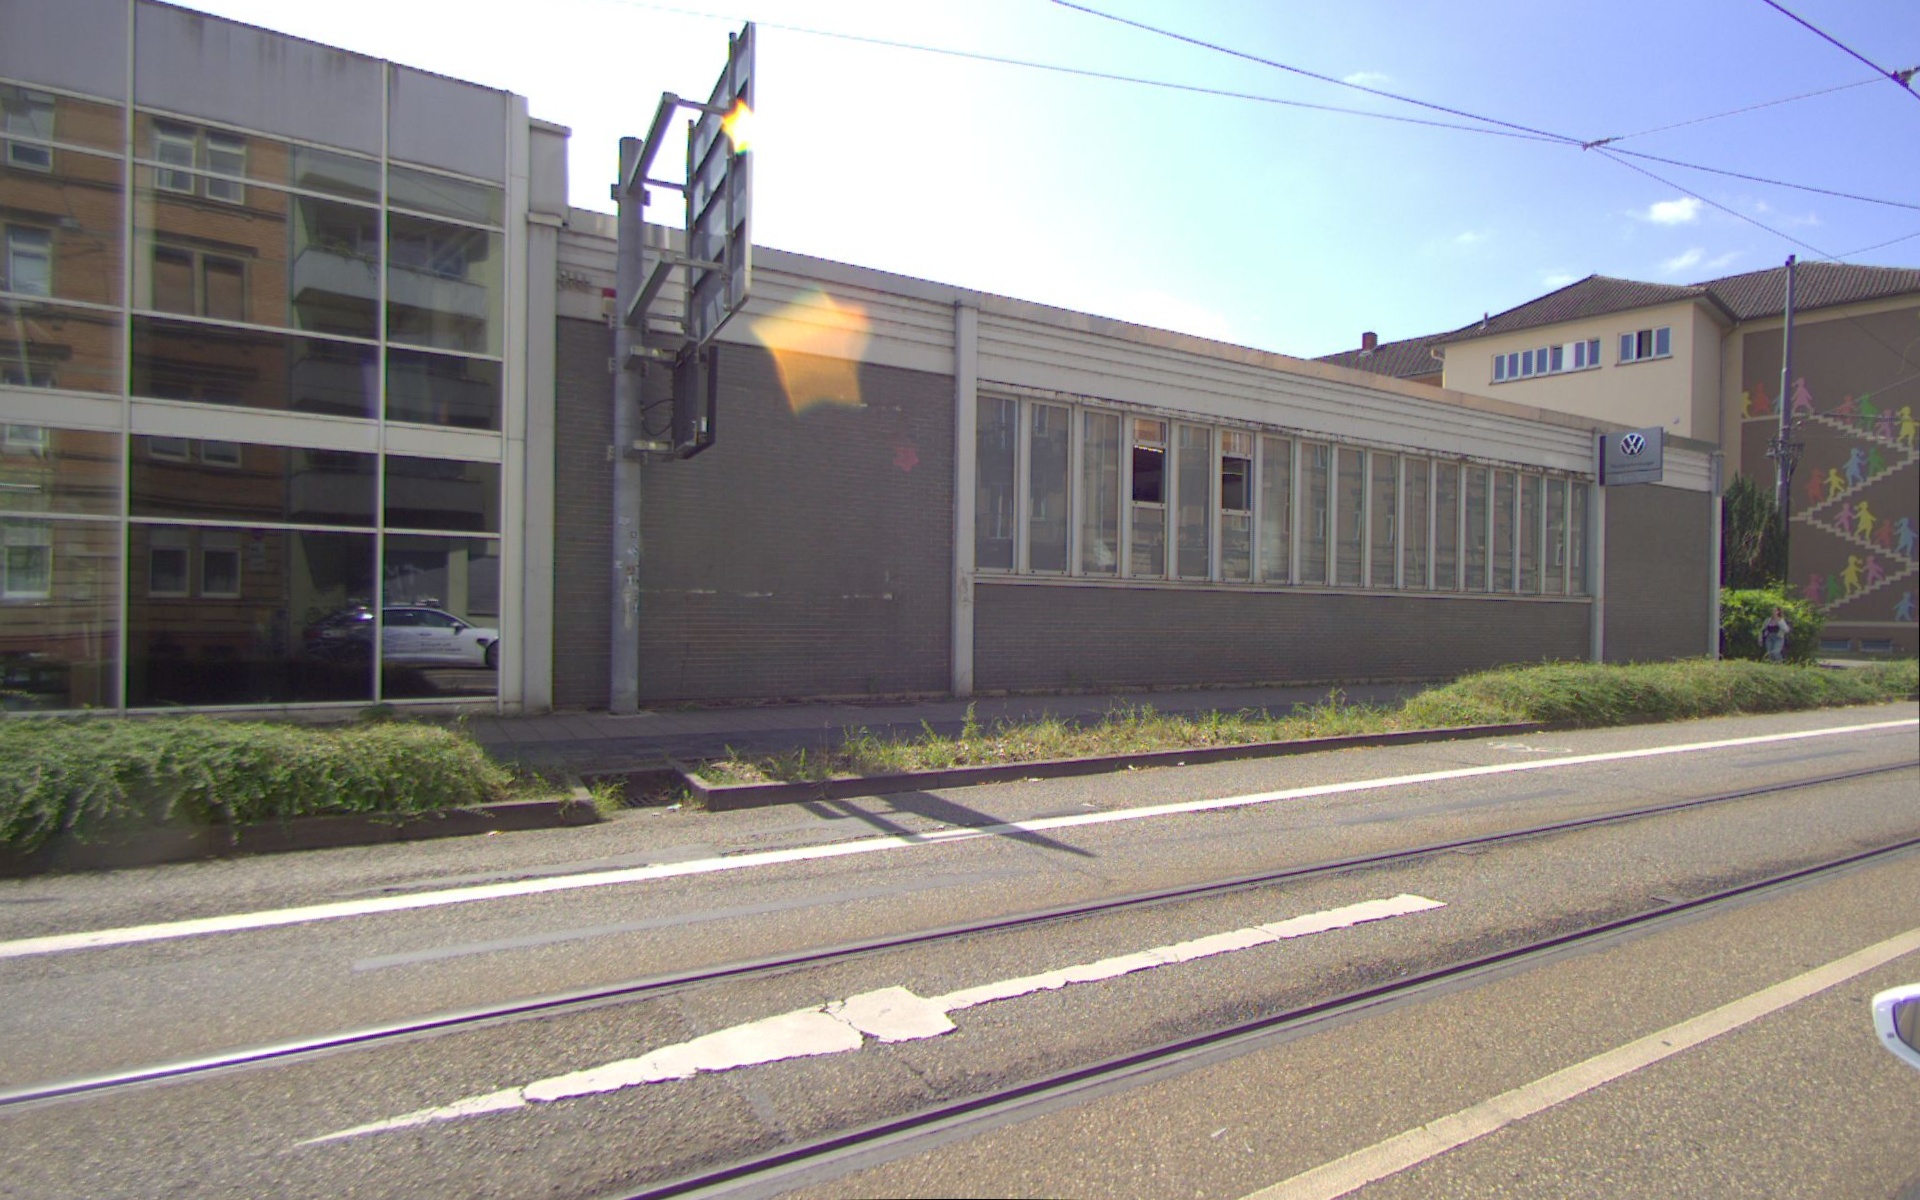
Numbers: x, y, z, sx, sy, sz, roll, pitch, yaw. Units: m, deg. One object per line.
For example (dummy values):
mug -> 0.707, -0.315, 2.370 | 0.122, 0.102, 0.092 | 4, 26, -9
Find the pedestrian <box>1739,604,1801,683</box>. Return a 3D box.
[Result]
pedestrian -> 20.051, 1.061, 24.865 | 1.068, 1.890, 0.876 | 1, -1, -30
